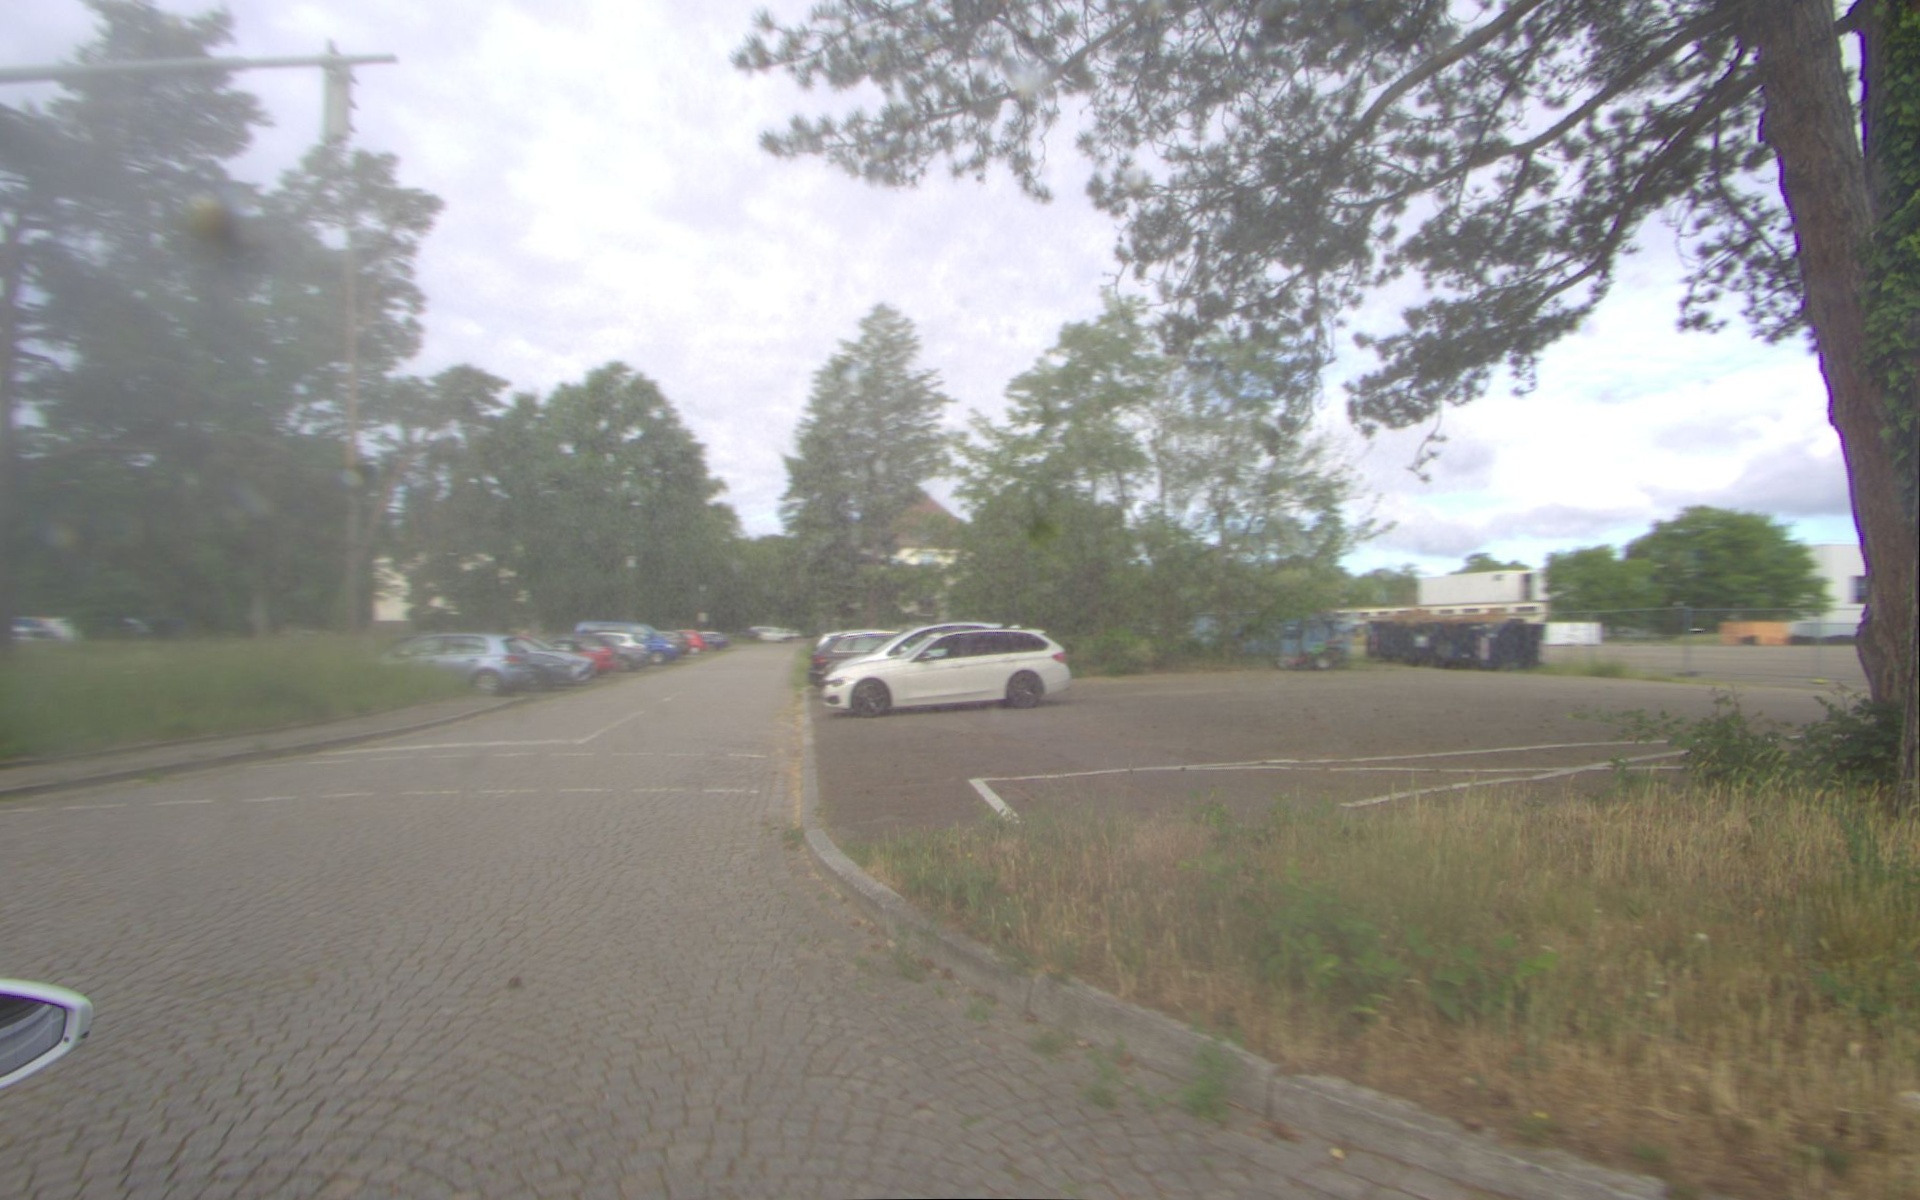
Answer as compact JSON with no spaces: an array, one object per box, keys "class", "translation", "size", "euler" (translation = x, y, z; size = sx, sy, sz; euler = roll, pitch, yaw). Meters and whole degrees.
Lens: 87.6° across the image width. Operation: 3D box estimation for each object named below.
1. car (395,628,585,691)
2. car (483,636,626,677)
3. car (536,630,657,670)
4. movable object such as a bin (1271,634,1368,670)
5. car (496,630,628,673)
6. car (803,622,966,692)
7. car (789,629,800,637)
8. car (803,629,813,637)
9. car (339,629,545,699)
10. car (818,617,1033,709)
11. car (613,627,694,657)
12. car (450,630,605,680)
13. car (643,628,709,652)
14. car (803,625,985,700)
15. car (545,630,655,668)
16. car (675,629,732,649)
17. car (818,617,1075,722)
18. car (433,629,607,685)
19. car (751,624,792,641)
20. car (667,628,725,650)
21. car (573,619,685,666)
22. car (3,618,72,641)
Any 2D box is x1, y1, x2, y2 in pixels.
[{"class":"car","translation":[-12.254,1.532,26.370],"size":[4.185,1.568,1.934],"euler":[0,-1,-13]},{"class":"car","translation":[-13.548,1.875,33.666],"size":[4.100,1.283,1.831],"euler":[0,-1,-8]},{"class":"car","translation":[-14.137,1.927,39.152],"size":[4.100,1.511,1.864],"euler":[0,-1,-7]},{"class":"movable object such as a bin","translation":[10.496,1.504,29.254],"size":[2.641,1.001,0.853],"euler":[0,-1,-12]},{"class":"car","translation":[-14.312,1.838,36.233],"size":[4.100,1.501,1.845],"euler":[0,-1,-8]},{"class":"car","translation":[-2.014,1.450,26.266],"size":[4.010,1.535,1.803],"euler":[-3,0,-11]},{"class":"car","translation":[-32.339,6.369,195.365],"size":[2.086,1.541,3.999],"euler":[0,-2,-10]},{"class":"car","translation":[-29.780,6.378,196.066],"size":[1.921,1.541,3.999],"euler":[0,-2,-10]},{"class":"car","translation":[-12.089,1.458,23.634],"size":[3.925,1.563,1.904],"euler":[0,-1,-10]},{"class":"car","translation":[-0.768,1.262,20.972],"size":[4.175,1.617,1.884],"euler":[-3,0,-13]},{"class":"car","translation":[-17.079,2.336,55.975],"size":[4.102,1.643,1.985],"euler":[0,-1,-12]},{"class":"car","translation":[-13.417,1.694,31.287],"size":[4.101,1.495,1.864],"euler":[0,-1,-10]},{"class":"car","translation":[-18.728,2.611,66.208],"size":[3.992,1.545,1.904],"euler":[0,-1,-10]},{"class":"car","translation":[-1.604,1.413,23.589],"size":[4.010,1.472,1.884],"euler":[-3,-1,-11]},{"class":"car","translation":[-15.021,2.024,41.957],"size":[4.003,1.516,1.845],"euler":[0,-1,-8]},{"class":"car","translation":[-20.720,3.129,81.040],"size":[4.235,1.479,1.974],"euler":[1,-1,-8]},{"class":"car","translation":[-0.315,1.212,18.461],"size":[4.423,1.586,1.904],"euler":[-3,-1,-11]},{"class":"car","translation":[-12.661,1.620,29.083],"size":[4.306,1.527,1.934],"euler":[0,-1,-11]},{"class":"car","translation":[-24.473,4.217,129.840],"size":[5.154,2.196,1.999],"euler":[0,-1,-11]},{"class":"car","translation":[-20.093,2.943,76.374],"size":[4.163,1.597,1.886],"euler":[1,-1,-10]},{"class":"car","translation":[-15.539,1.981,47.232],"size":[4.707,2.149,2.114],"euler":[0,-1,-10]},{"class":"car","translation":[-85.771,2.768,93.212],"size":[1.962,2.039,5.231],"euler":[0,-2,-6]}]
